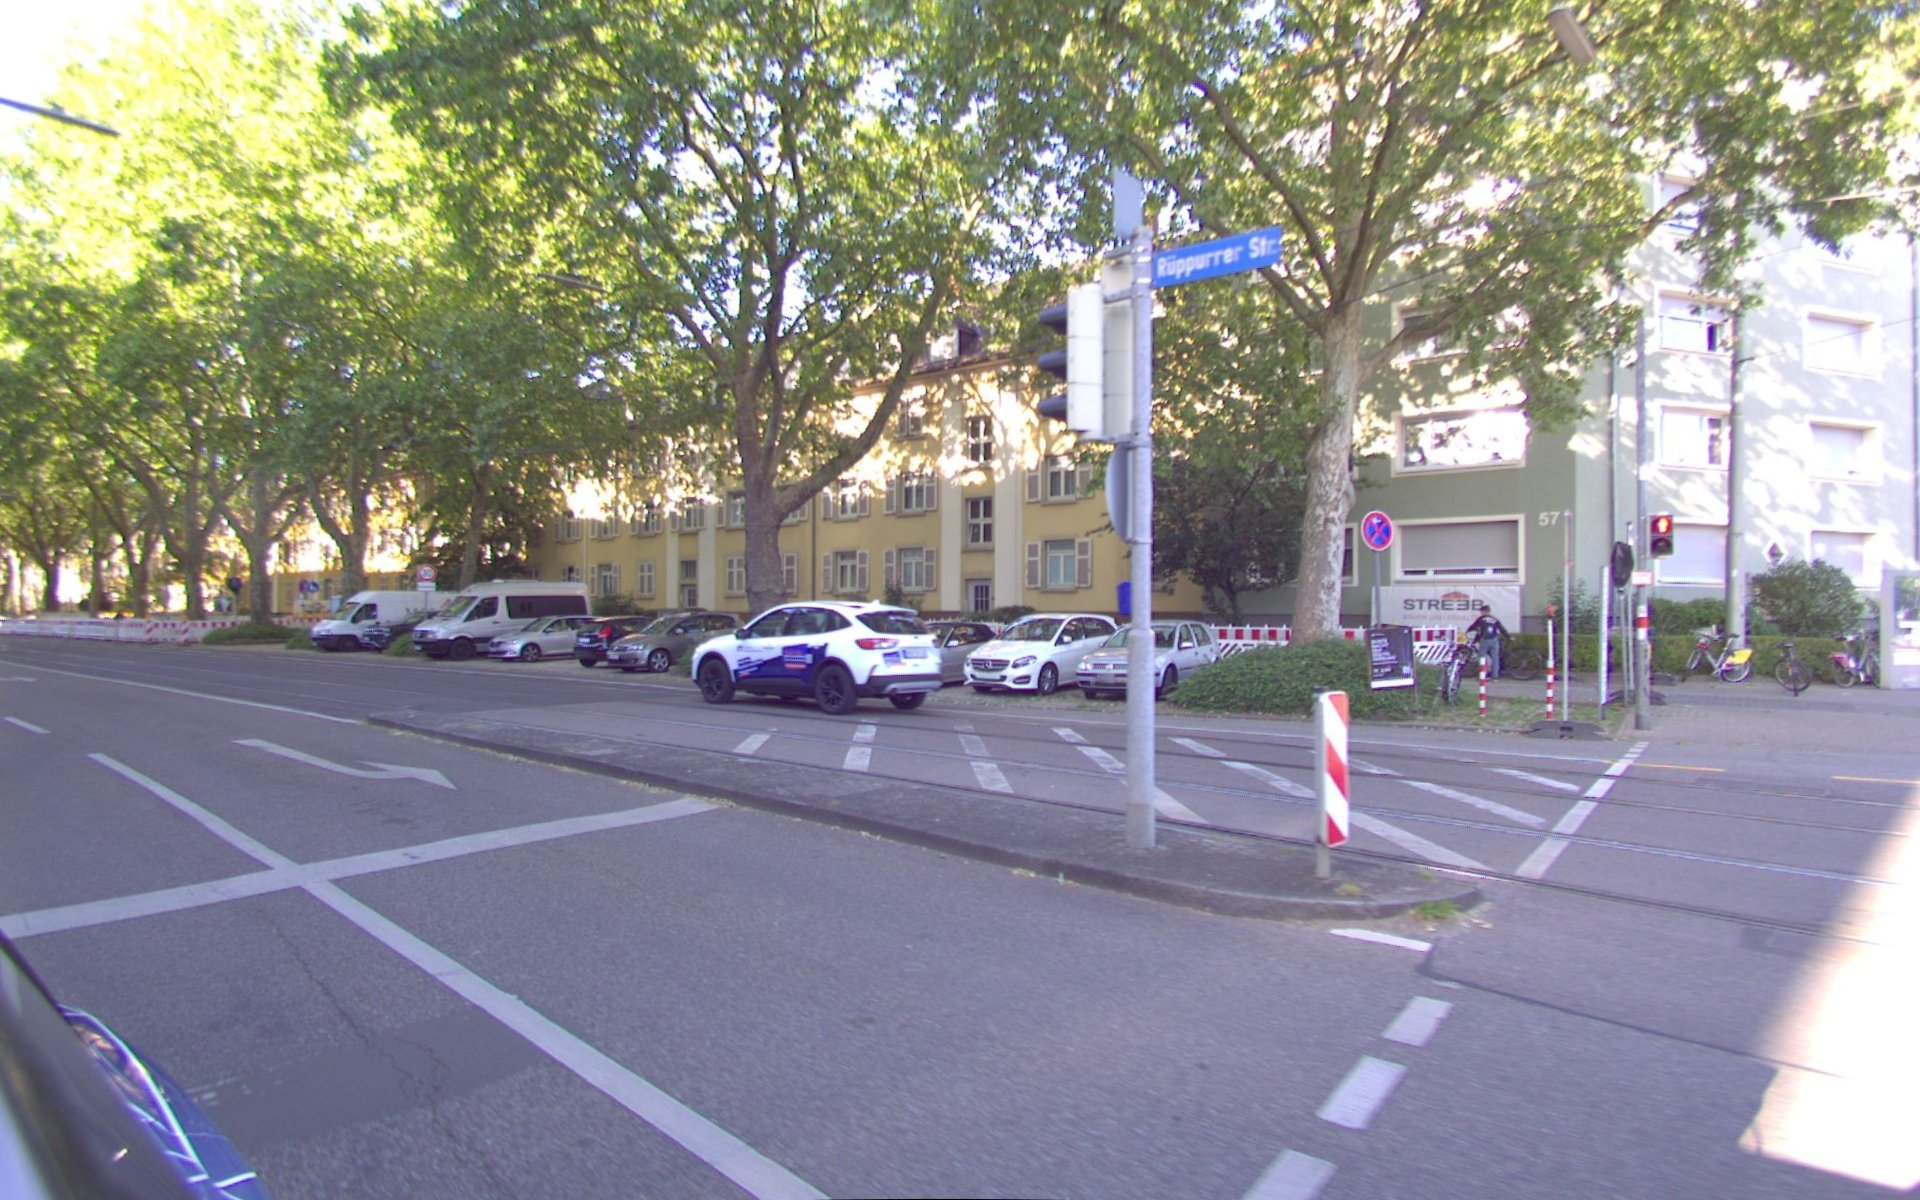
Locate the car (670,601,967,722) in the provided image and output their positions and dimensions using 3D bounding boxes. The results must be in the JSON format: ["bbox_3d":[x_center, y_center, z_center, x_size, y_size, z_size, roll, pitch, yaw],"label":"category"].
[{"bbox_3d":[-2.321,0.880,15.936,4.623,1.644,1.975,-1,-2,37],"label":"car"}]

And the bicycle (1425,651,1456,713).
[{"bbox_3d":[7.685,1.289,16.165,0.357,0.895,1.558,-1,-1,29],"label":"bicycle"}]

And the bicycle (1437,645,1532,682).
[{"bbox_3d":[11.275,1.368,21.804,1.763,0.765,0.357,0,-1,14],"label":"bicycle"}]

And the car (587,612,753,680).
[{"bbox_3d":[-7.836,1.181,27.613,1.843,1.631,4.028,0,0,41],"label":"car"}]

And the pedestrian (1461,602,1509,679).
[{"bbox_3d":[11.040,0.845,21.303,0.735,1.580,0.599,0,-1,14],"label":"pedestrian"}]

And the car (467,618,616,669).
[{"bbox_3d":[-13.627,1.370,33.108,1.693,1.457,4.221,0,0,41],"label":"car"}]

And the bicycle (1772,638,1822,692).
[{"bbox_3d":[15.196,1.158,18.409,0.357,0.895,1.763,-1,-1,29],"label":"bicycle"}]

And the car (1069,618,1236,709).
[{"bbox_3d":[3.759,1.118,19.276,1.700,1.428,3.954,0,0,34],"label":"car"}]

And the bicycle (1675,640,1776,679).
[{"bbox_3d":[15.465,1.199,20.452,1.755,0.765,0.358,0,-1,-1],"label":"bicycle"}]

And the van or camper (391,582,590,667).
[{"bbox_3d":[-15.938,0.742,34.680,2.154,2.668,5.857,0,0,39],"label":"van or camper"}]

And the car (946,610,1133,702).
[{"bbox_3d":[1.717,1.050,20.785,1.843,1.624,4.028,0,0,41],"label":"car"}]

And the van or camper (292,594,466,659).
[{"bbox_3d":[-23.176,0.985,40.620,2.154,2.403,5.691,0,0,39],"label":"van or camper"}]

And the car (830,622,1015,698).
[{"bbox_3d":[-0.736,1.223,22.154,1.843,1.379,4.028,0,0,41],"label":"car"}]

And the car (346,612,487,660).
[{"bbox_3d":[-20.675,1.326,38.647,1.693,1.645,4.482,0,0,41],"label":"car"}]

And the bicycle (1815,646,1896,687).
[{"bbox_3d":[17.789,1.318,20.098,1.750,0.765,0.359,0,-1,-18],"label":"bicycle"}]

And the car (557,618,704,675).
[{"bbox_3d":[-9.627,1.300,29.769,1.693,1.457,3.812,0,0,41],"label":"car"}]
